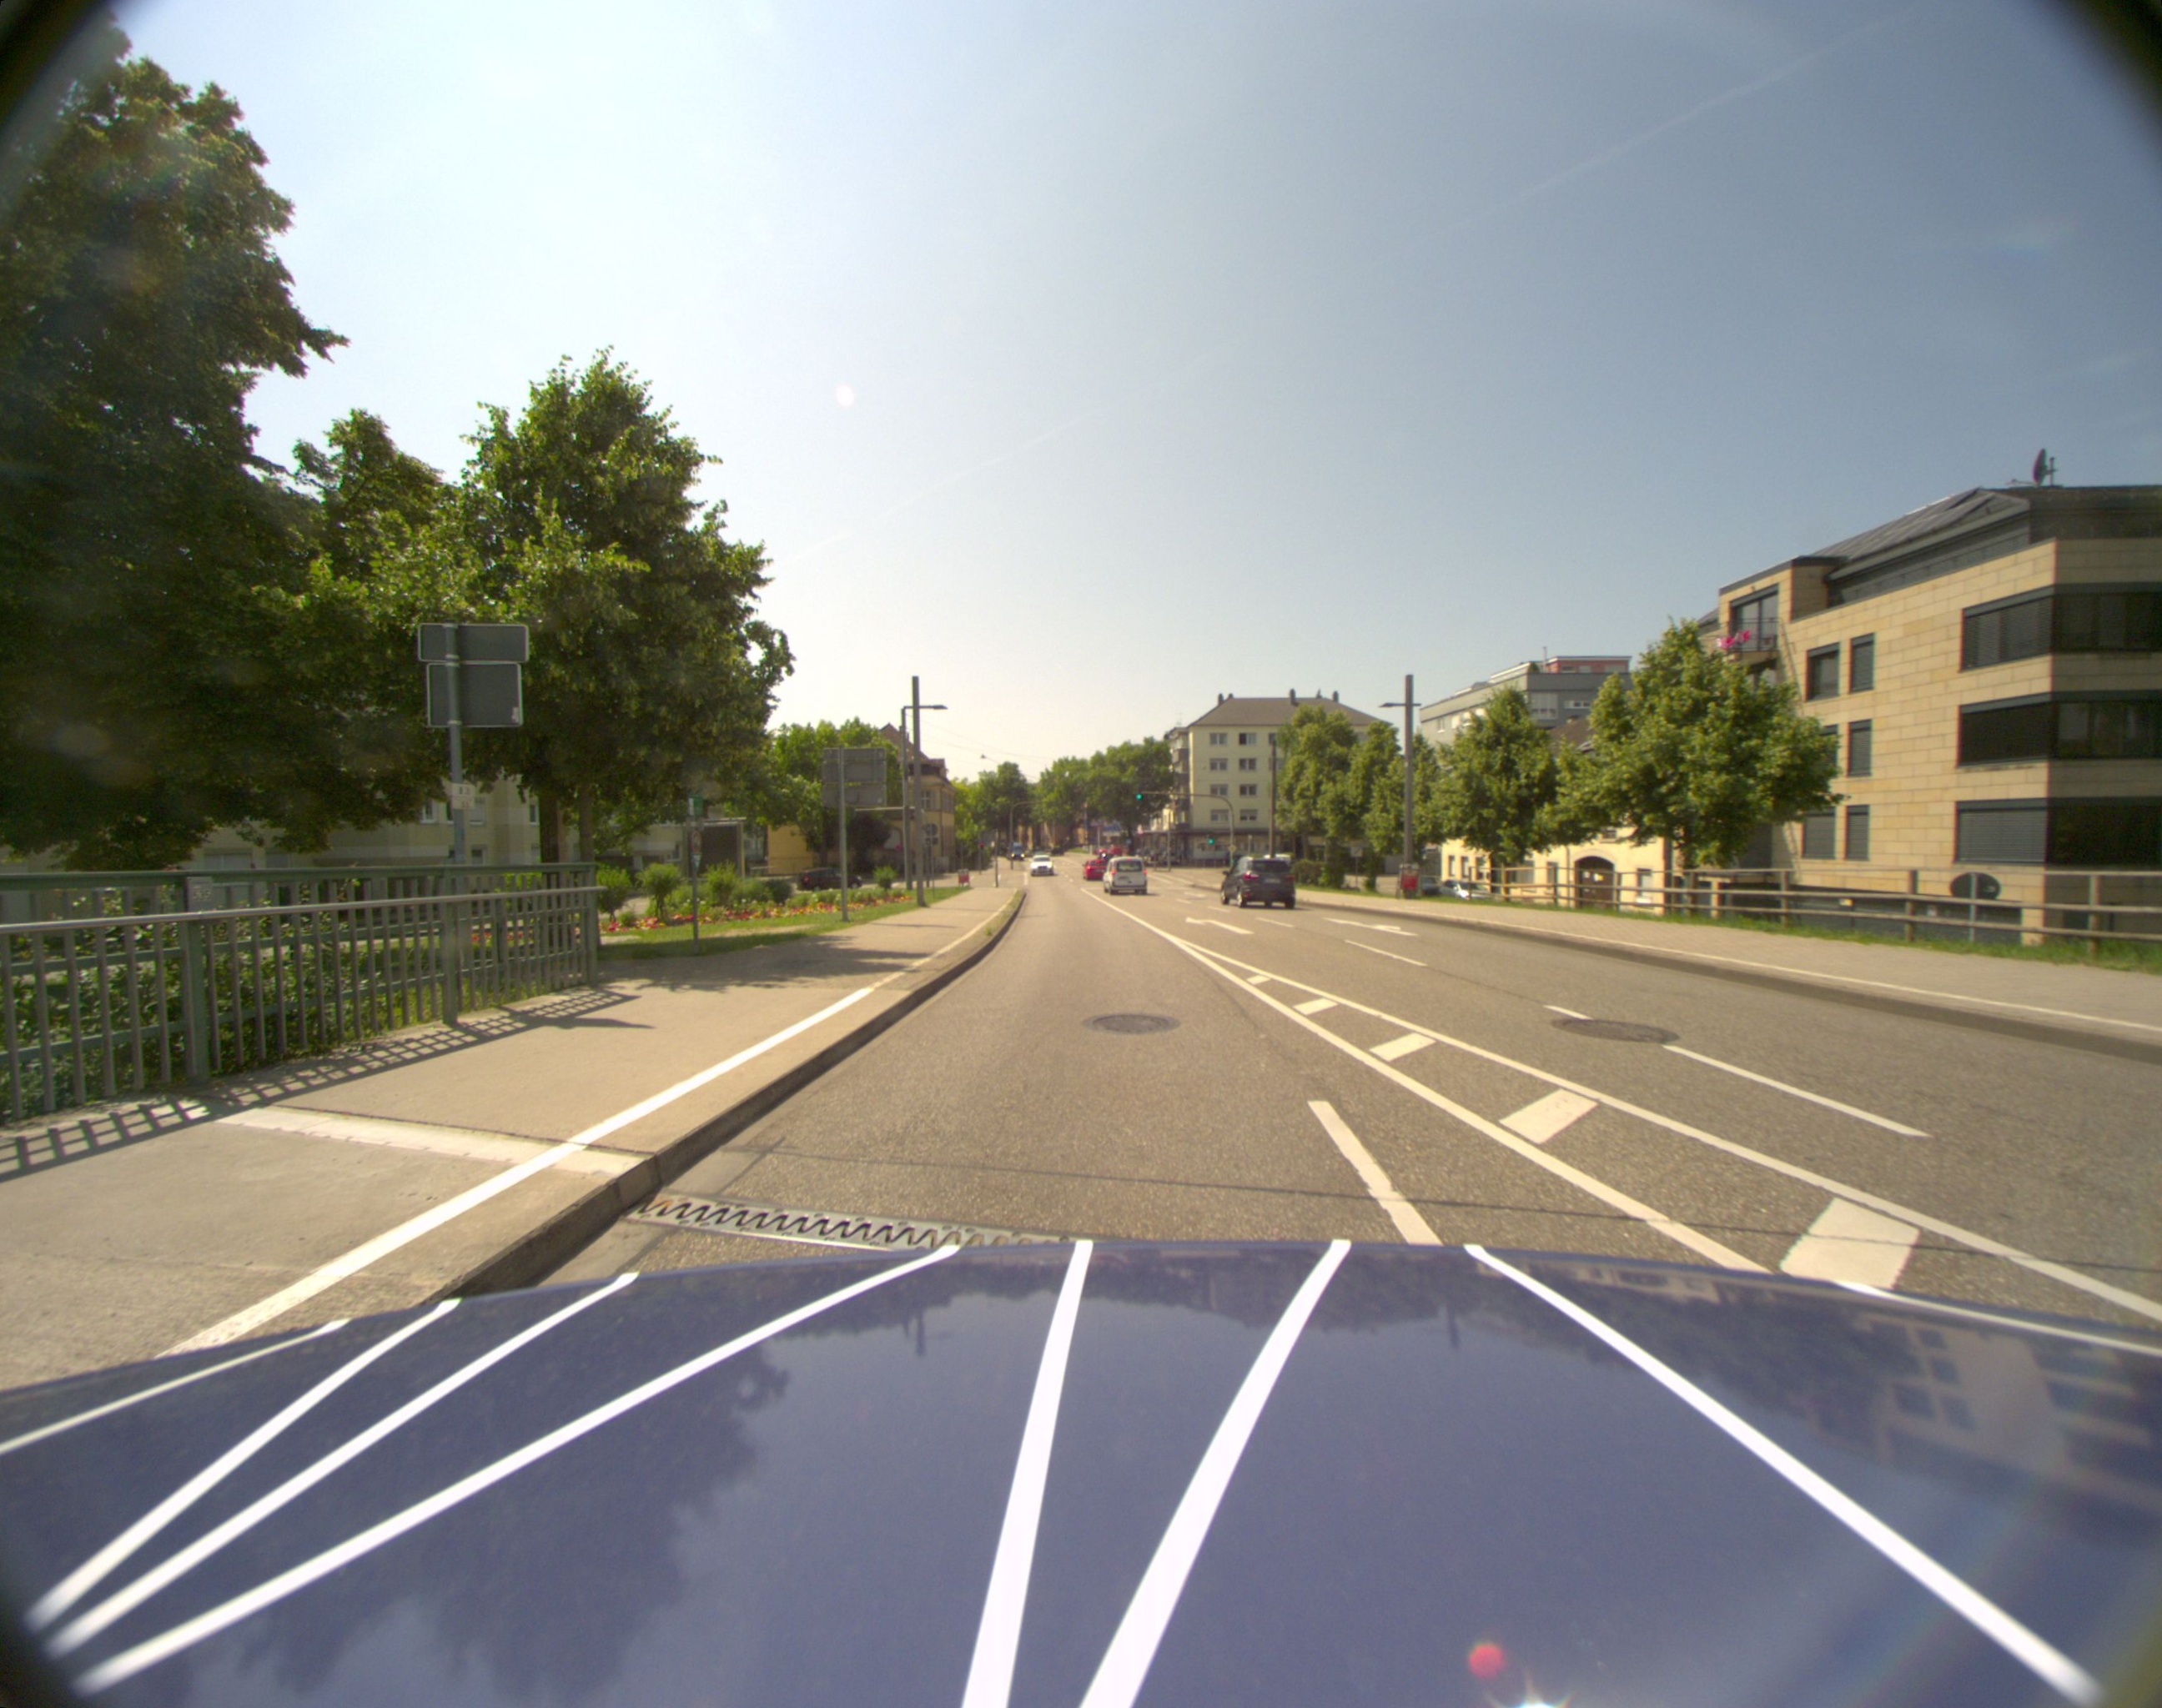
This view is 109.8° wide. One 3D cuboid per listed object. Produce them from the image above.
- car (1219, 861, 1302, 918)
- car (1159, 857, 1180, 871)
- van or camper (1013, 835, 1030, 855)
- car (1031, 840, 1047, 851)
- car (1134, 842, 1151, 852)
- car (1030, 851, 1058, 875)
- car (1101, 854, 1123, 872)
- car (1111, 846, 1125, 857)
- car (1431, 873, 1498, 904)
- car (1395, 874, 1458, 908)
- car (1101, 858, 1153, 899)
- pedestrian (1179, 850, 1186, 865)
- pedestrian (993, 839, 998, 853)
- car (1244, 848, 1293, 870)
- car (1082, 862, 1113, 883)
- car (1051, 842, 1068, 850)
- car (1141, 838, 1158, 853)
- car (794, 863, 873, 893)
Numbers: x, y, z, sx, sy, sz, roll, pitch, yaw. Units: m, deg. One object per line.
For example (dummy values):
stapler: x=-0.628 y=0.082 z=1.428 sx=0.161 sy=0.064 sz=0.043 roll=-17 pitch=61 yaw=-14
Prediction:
car: x=5.909 y=1.125 z=25.459 sx=1.741 sy=1.631 sz=3.920 roll=1 pitch=1 yaw=-1
car: x=10.098 y=1.145 z=86.889 sx=1.587 sy=1.451 sz=3.936 roll=-1 pitch=2 yaw=-5
van or camper: x=-8.396 y=-1.358 z=106.814 sx=2.165 sy=2.568 sz=5.840 roll=-2 pitch=3 yaw=-5
car: x=-7.908 y=-1.648 z=142.874 sx=1.763 sy=1.553 sz=4.305 roll=0 pitch=6 yaw=-20
car: x=8.540 y=-1.012 z=106.162 sx=1.704 sy=1.280 sz=3.858 roll=-2 pitch=2 yaw=-5
car: x=-3.167 y=0.690 z=63.793 sx=1.999 sy=1.740 sz=4.441 roll=-2 pitch=2 yaw=-6
car: x=3.024 y=0.837 z=75.420 sx=1.719 sy=1.477 sz=4.028 roll=-4 pitch=3 yaw=-3
car: x=5.409 y=-0.382 z=112.520 sx=1.639 sy=1.460 sz=3.631 roll=-1 pitch=2 yaw=-4
car: x=21.764 y=1.930 z=43.289 sx=1.780 sy=1.424 sz=4.429 roll=-2 pitch=1 yaw=3
car: x=22.023 y=2.320 z=48.659 sx=1.819 sy=1.619 sz=5.285 roll=2 pitch=2 yaw=3
car: x=2.178 y=1.221 z=37.607 sx=1.842 sy=1.849 sz=4.662 roll=-2 pitch=-2 yaw=-5
pedestrian: x=11.688 y=0.428 z=87.557 sx=0.629 sy=1.750 sz=0.742 roll=-1 pitch=2 yaw=-5
pedestrian: x=-12.026 y=-1.093 z=106.994 sx=0.621 sy=1.908 sz=0.743 roll=-1 pitch=3 yaw=-5
car: x=16.287 y=0.435 z=66.129 sx=3.697 sy=1.726 sz=1.892 roll=1 pitch=2 yaw=-6
car: x=1.128 y=1.305 z=54.732 sx=1.652 sy=1.455 sz=3.859 roll=0 pitch=-1 yaw=-7
car: x=-3.592 y=-1.349 z=128.323 sx=1.844 sy=1.391 sz=4.043 roll=-1 pitch=1 yaw=-17
car: x=9.071 y=-1.188 z=100.670 sx=1.643 sy=1.829 sz=3.857 roll=-2 pitch=2 yaw=-5
car: x=-17.020 y=1.605 z=52.428 sx=1.912 sy=1.623 sz=4.827 roll=1 pitch=4 yaw=44
